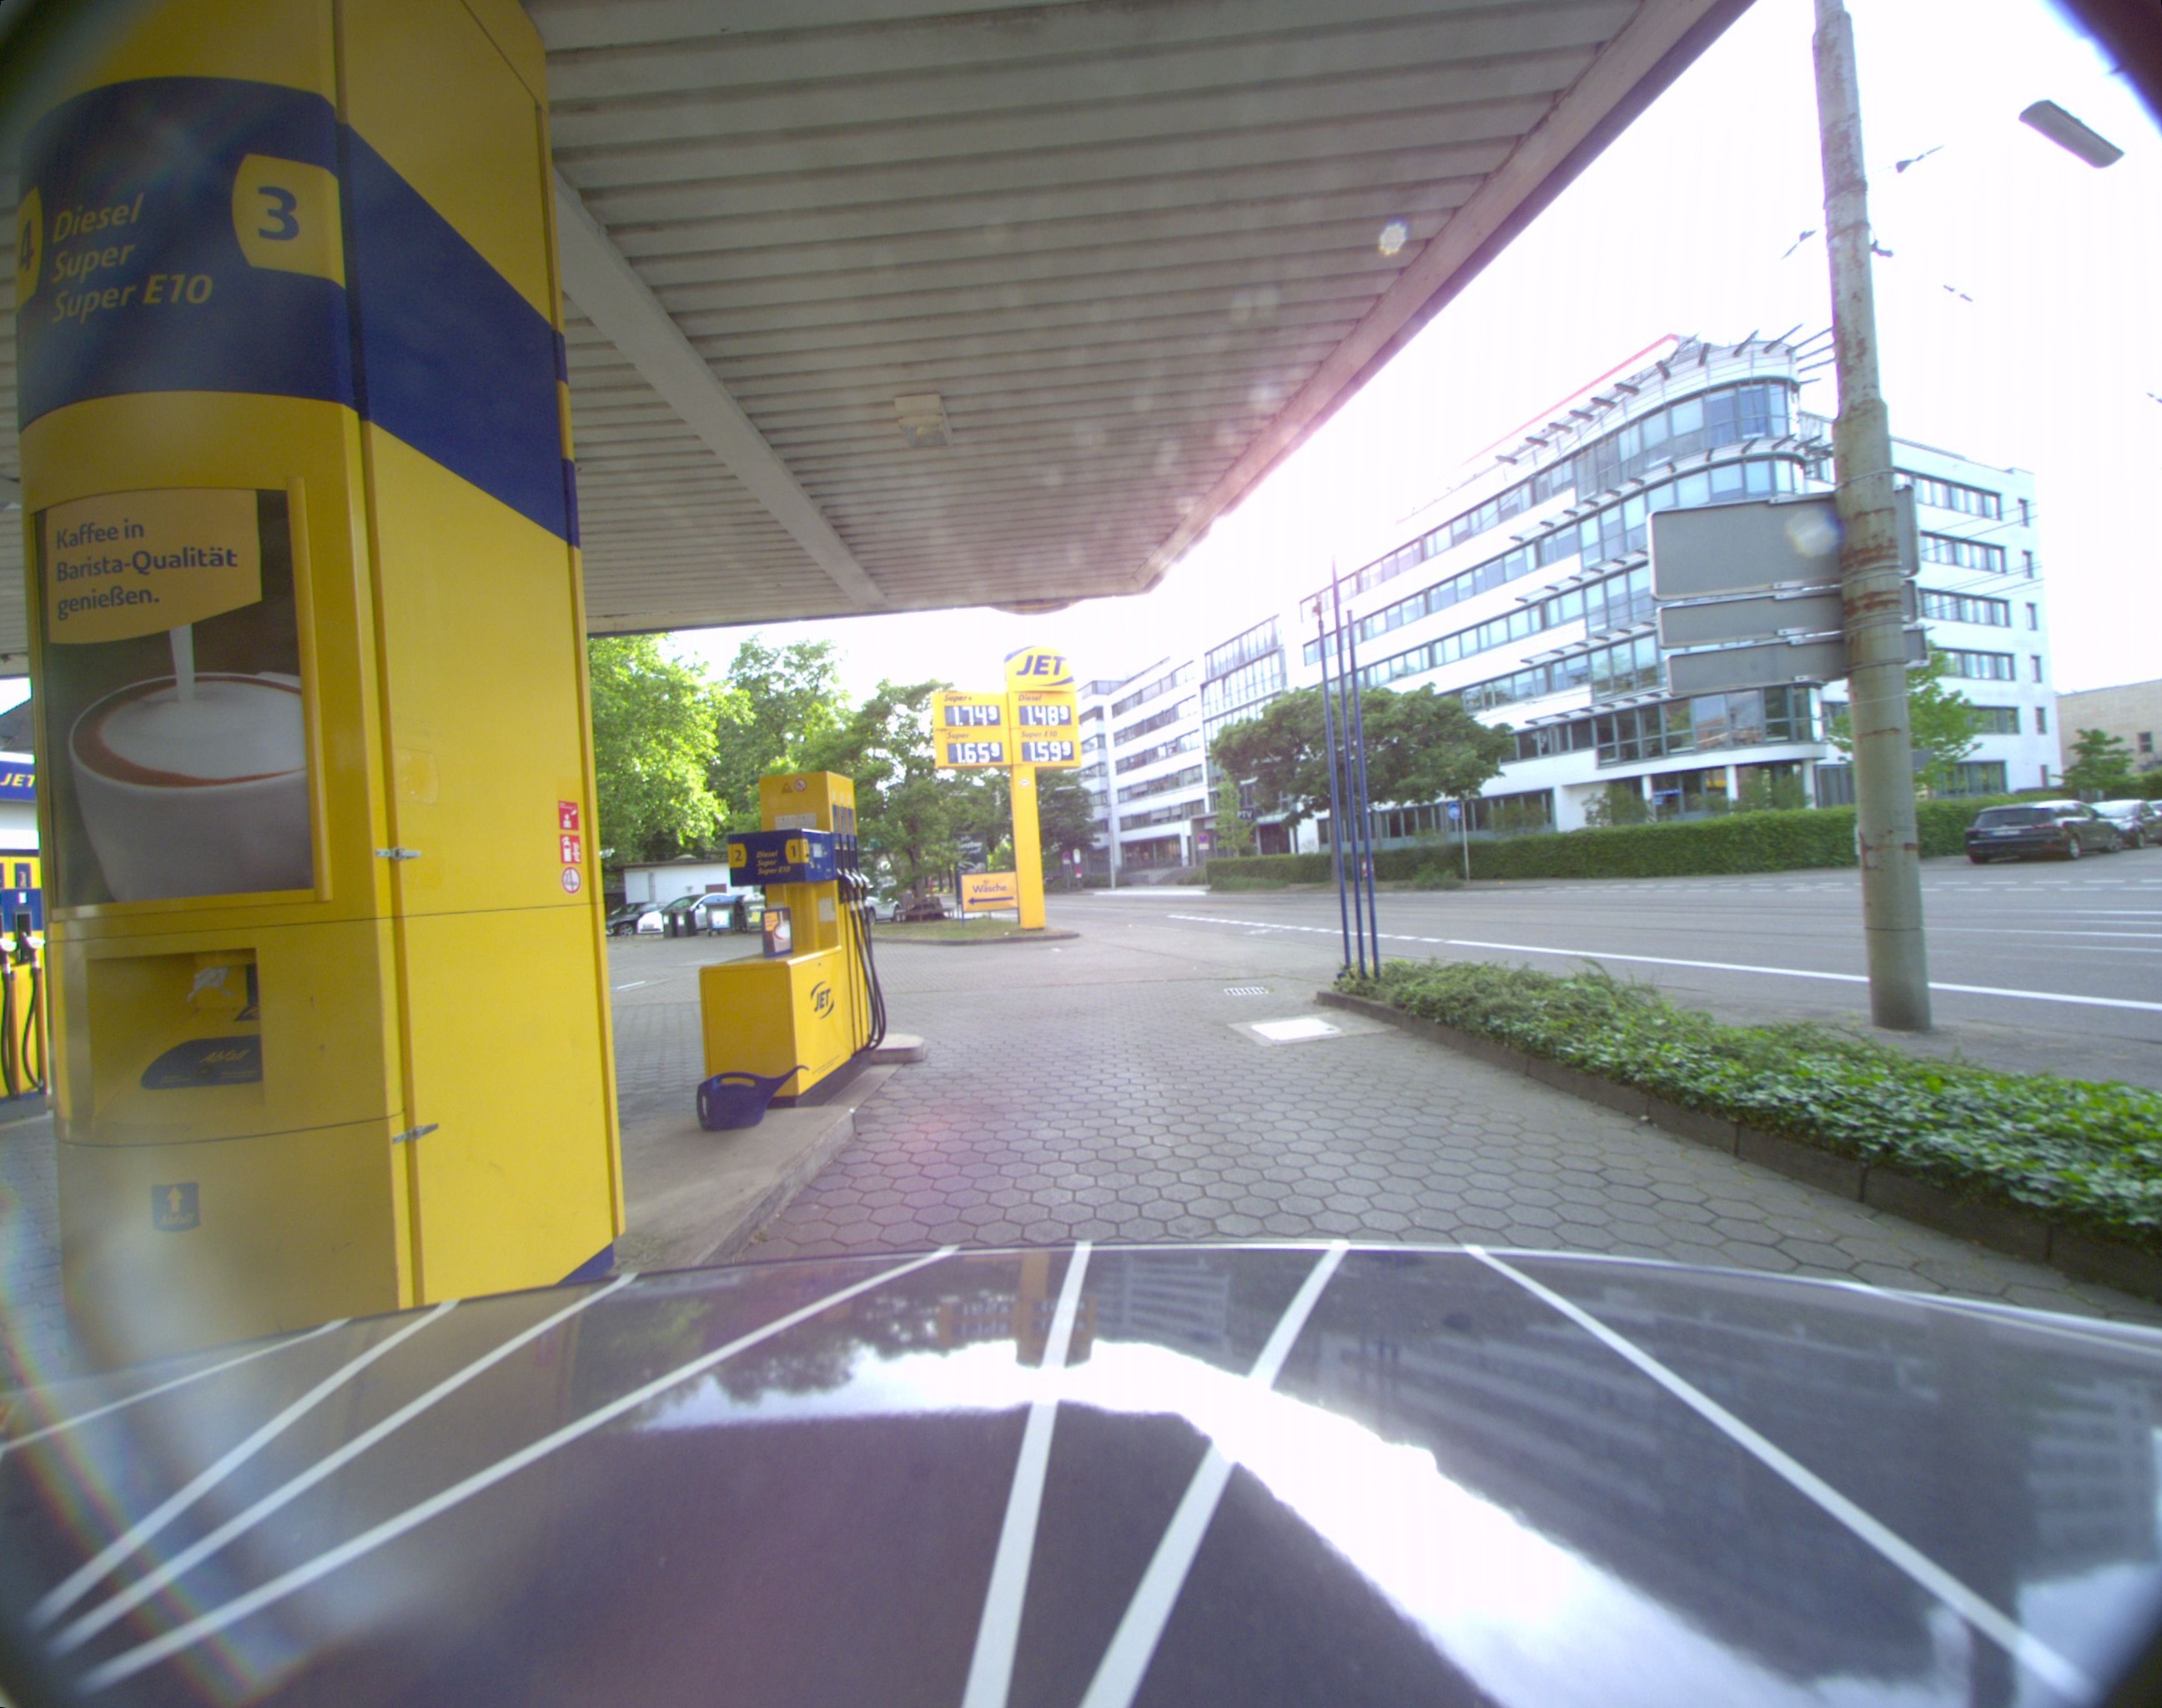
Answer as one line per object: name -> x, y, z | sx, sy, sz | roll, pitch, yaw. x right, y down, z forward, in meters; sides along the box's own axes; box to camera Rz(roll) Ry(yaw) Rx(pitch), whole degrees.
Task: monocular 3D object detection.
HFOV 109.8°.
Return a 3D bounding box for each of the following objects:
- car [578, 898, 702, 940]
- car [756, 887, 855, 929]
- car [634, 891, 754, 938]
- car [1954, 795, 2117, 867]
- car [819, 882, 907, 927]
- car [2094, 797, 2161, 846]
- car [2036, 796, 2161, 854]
car -> -17.797, 2.584, 30.909 | 1.771, 1.367, 4.398 | -2, -1, 14
car -> -11.657, 2.262, 32.494 | 1.771, 1.591, 4.400 | -4, -4, 13
car -> -15.295, 2.359, 30.315 | 1.771, 1.591, 4.398 | -2, -1, 14
car -> 27.272, -0.665, 21.694 | 4.296, 1.681, 2.010 | -4, -1, -27
car -> -8.639, 1.997, 30.504 | 1.772, 1.591, 4.398 | -4, -4, 6
car -> 37.125, -1.197, 26.149 | 4.296, 1.509, 1.945 | -4, -1, -27
car -> 32.543, -0.942, 24.096 | 4.296, 1.530, 1.945 | -4, -1, -27
